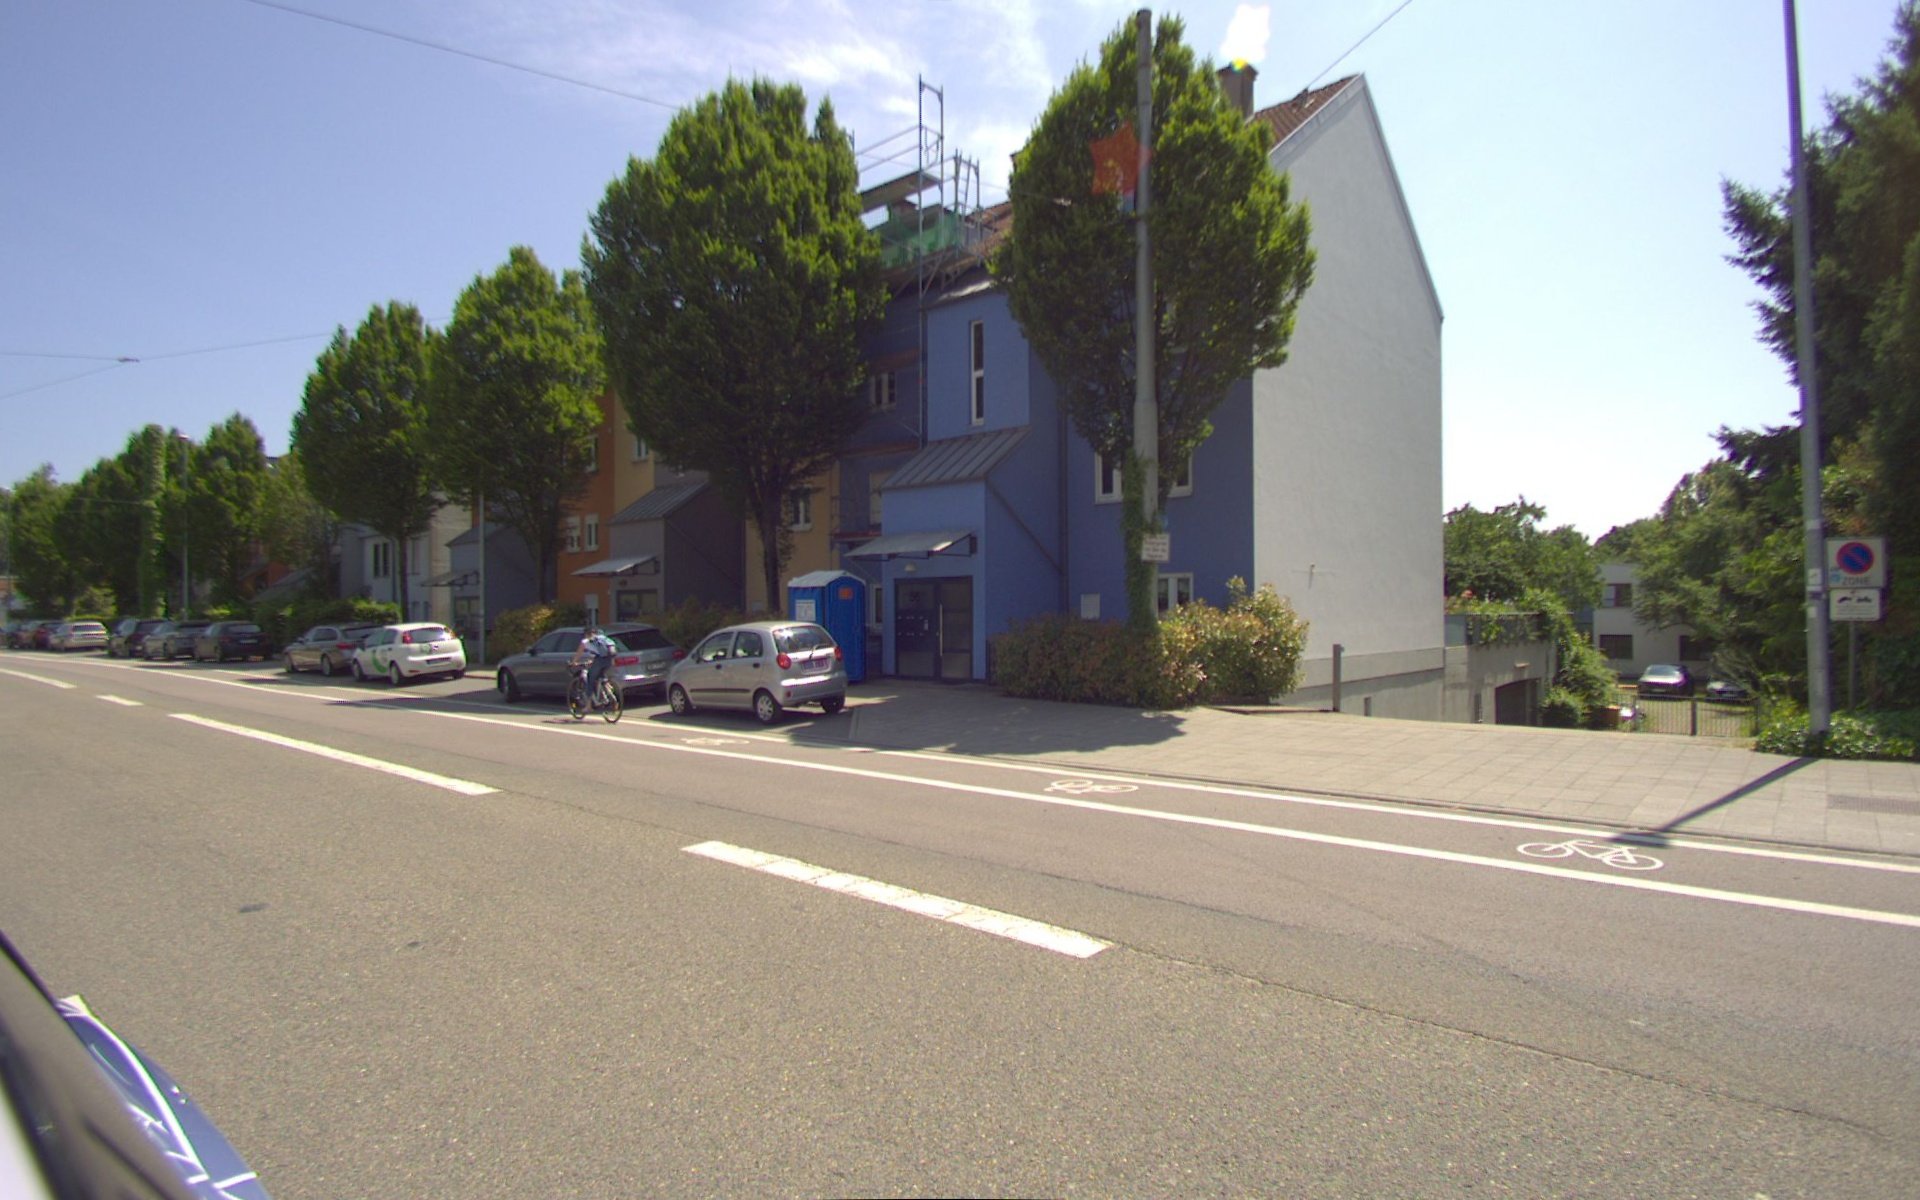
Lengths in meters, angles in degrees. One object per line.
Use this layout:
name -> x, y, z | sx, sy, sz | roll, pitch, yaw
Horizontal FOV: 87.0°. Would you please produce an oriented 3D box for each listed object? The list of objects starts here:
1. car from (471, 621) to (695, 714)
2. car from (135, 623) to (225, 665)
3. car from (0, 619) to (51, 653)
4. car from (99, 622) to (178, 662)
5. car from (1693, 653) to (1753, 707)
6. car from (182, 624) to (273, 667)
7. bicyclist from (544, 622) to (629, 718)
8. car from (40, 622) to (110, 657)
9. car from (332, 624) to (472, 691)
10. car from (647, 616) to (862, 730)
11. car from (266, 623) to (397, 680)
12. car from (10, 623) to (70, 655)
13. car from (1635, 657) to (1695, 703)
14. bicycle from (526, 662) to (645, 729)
car -> -7.509, 1.263, 19.862 | 5.129, 1.461, 1.769 | -2, 2, 40
car -> -31.368, 1.742, 40.645 | 4.752, 1.507, 1.807 | -2, 1, 39
car -> -53.837, 2.028, 57.778 | 4.548, 1.807, 1.976 | -1, -1, 36
car -> -35.944, 1.815, 44.241 | 4.142, 1.601, 1.750 | -2, 1, 38
car -> 35.180, 3.615, 46.619 | 1.999, 2.029, 3.946 | 0, 1, 40
car -> -27.149, 1.647, 37.450 | 4.254, 1.443, 1.732 | -1, 1, 40
bicyclist -> -5.877, 1.089, 15.919 | 1.123, 1.442, 0.728 | -1, -4, 38
car -> -44.829, 1.986, 51.252 | 4.490, 1.594, 1.822 | -2, 1, 38
car -> -14.718, 1.446, 26.598 | 4.417, 1.453, 1.729 | -2, 3, 41
car -> -3.385, 1.103, 16.405 | 3.447, 1.506, 1.577 | -2, 3, 41
car -> -18.752, 1.494, 30.111 | 4.744, 1.440, 1.688 | -2, 3, 38
car -> -49.680, 2.113, 54.628 | 3.673, 1.606, 1.586 | -2, 0, 35
car -> 33.689, 3.765, 48.321 | 1.999, 1.730, 3.946 | 0, 1, 40
bicycle -> -5.908, 1.467, 15.897 | 2.240, 0.958, 0.695 | -2, -4, 39
